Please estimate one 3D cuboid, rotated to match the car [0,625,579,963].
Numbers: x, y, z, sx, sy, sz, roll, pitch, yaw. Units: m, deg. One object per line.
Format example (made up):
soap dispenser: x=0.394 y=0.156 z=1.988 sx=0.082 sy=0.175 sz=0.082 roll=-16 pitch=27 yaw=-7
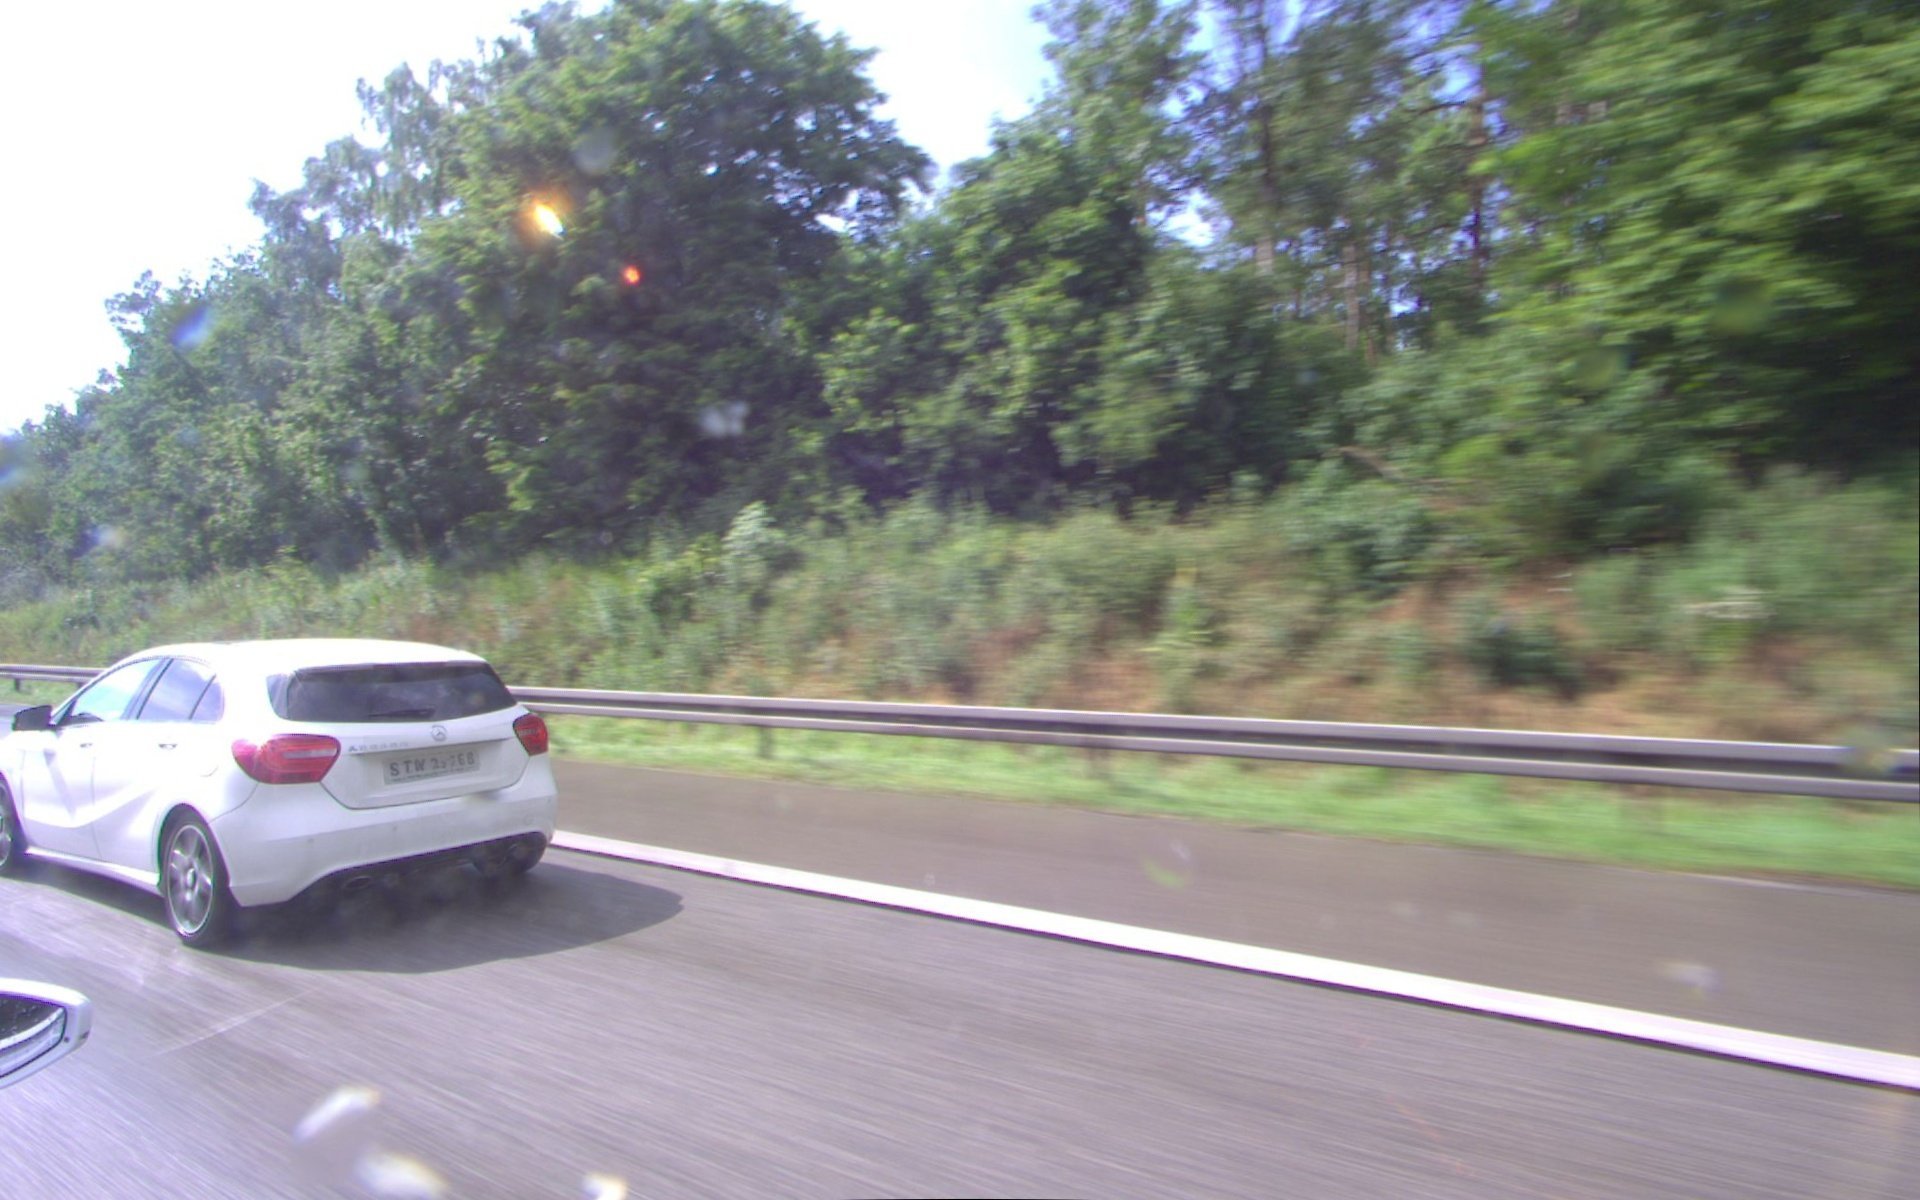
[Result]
car: x=-4.383 y=0.896 z=6.122 sx=4.160 sy=1.443 sz=1.689 roll=-1 pitch=-2 yaw=32
